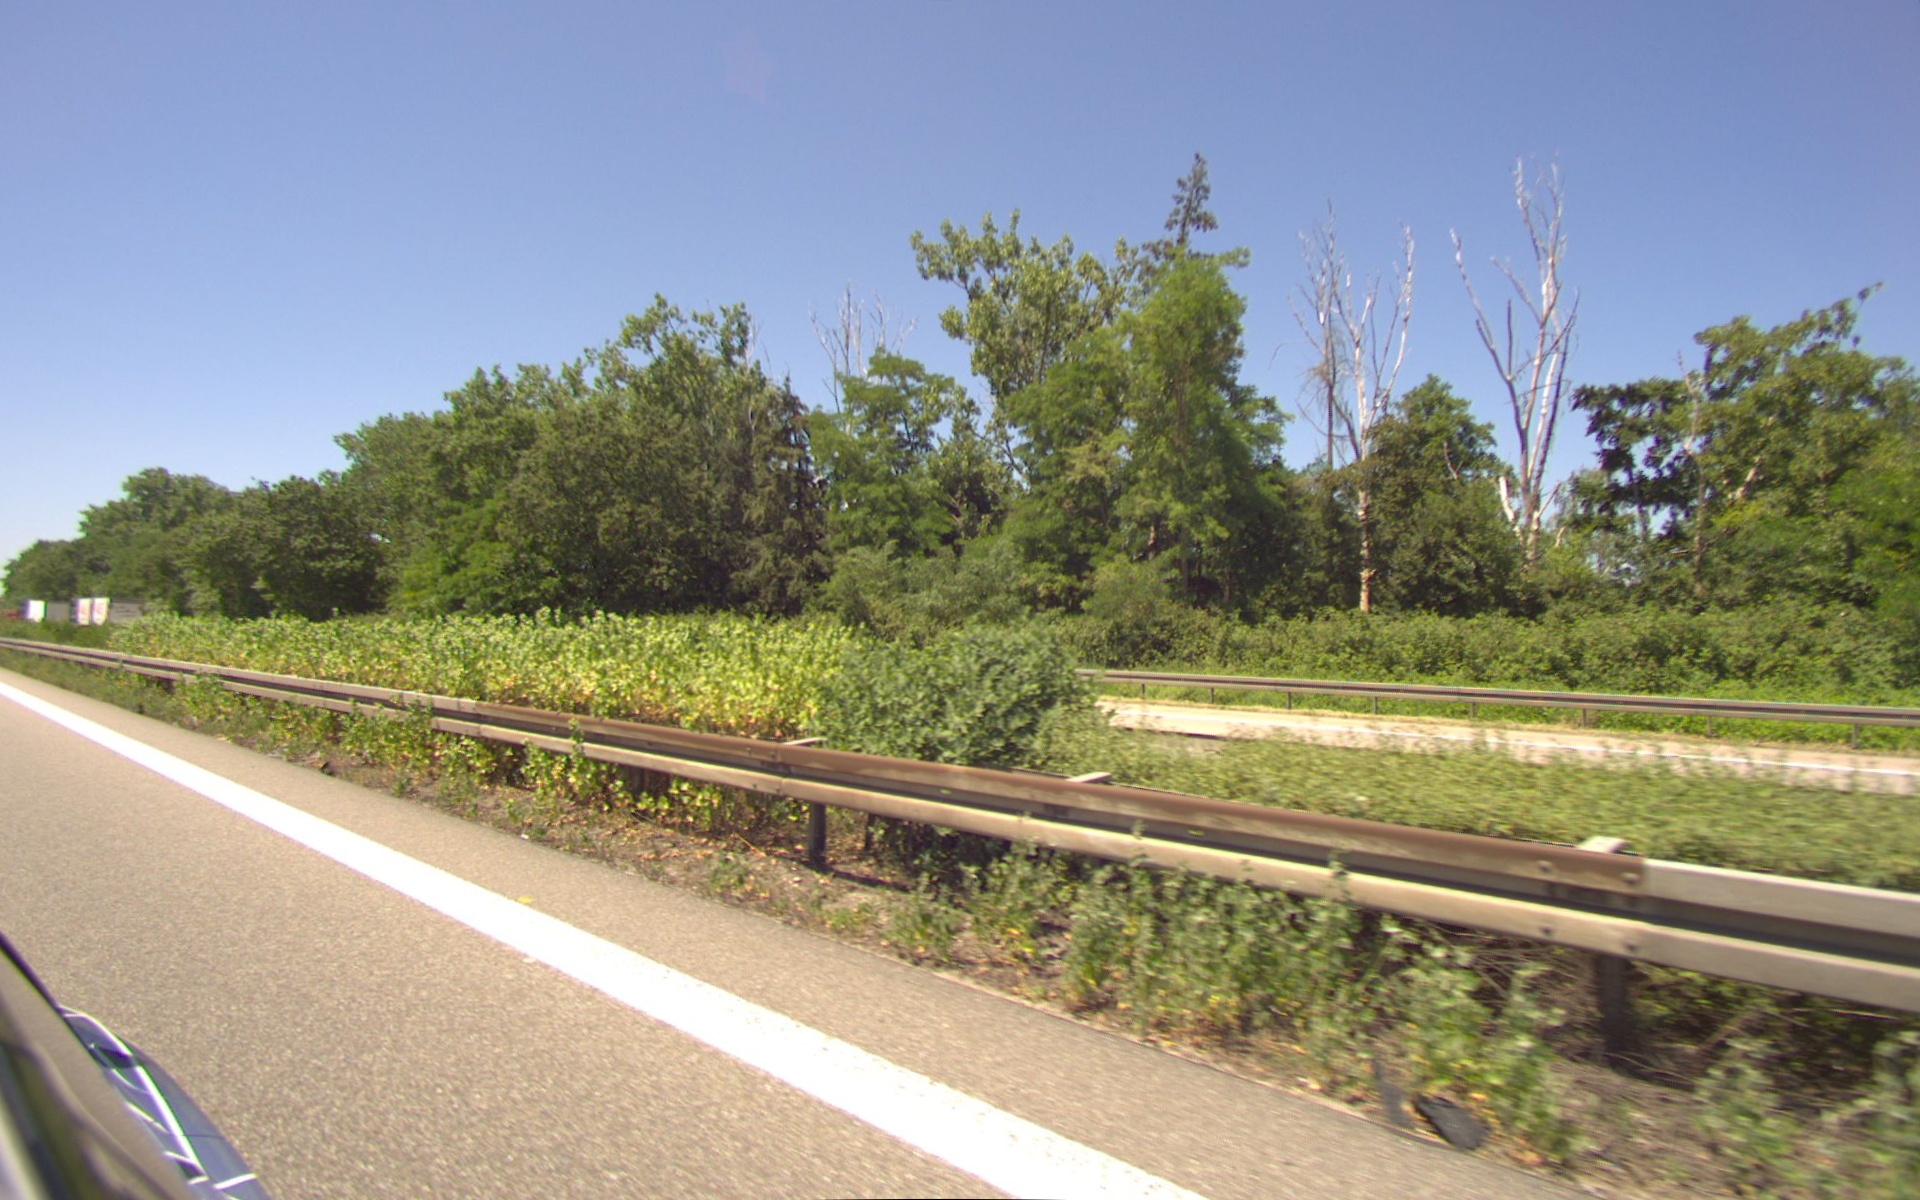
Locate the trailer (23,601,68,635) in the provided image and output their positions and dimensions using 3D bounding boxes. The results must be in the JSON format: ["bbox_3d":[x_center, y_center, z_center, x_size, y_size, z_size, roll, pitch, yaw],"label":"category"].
[{"bbox_3d":[-116.903,2.293,129.253,14.240,4.122,2.510,-1,-3,42],"label":"trailer"}]

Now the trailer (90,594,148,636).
[{"bbox_3d":[-81.259,1.482,97.661,9.272,3.857,2.895,-1,-2,42],"label":"trailer"}]

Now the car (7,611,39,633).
[{"bbox_3d":[-110.190,2.645,119.010,5.083,2.485,2.102,-1,-4,41],"label":"car"}]

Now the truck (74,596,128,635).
[{"bbox_3d":[-88.177,1.589,103.802,9.272,3.857,2.895,-1,-2,42],"label":"truck"}]
